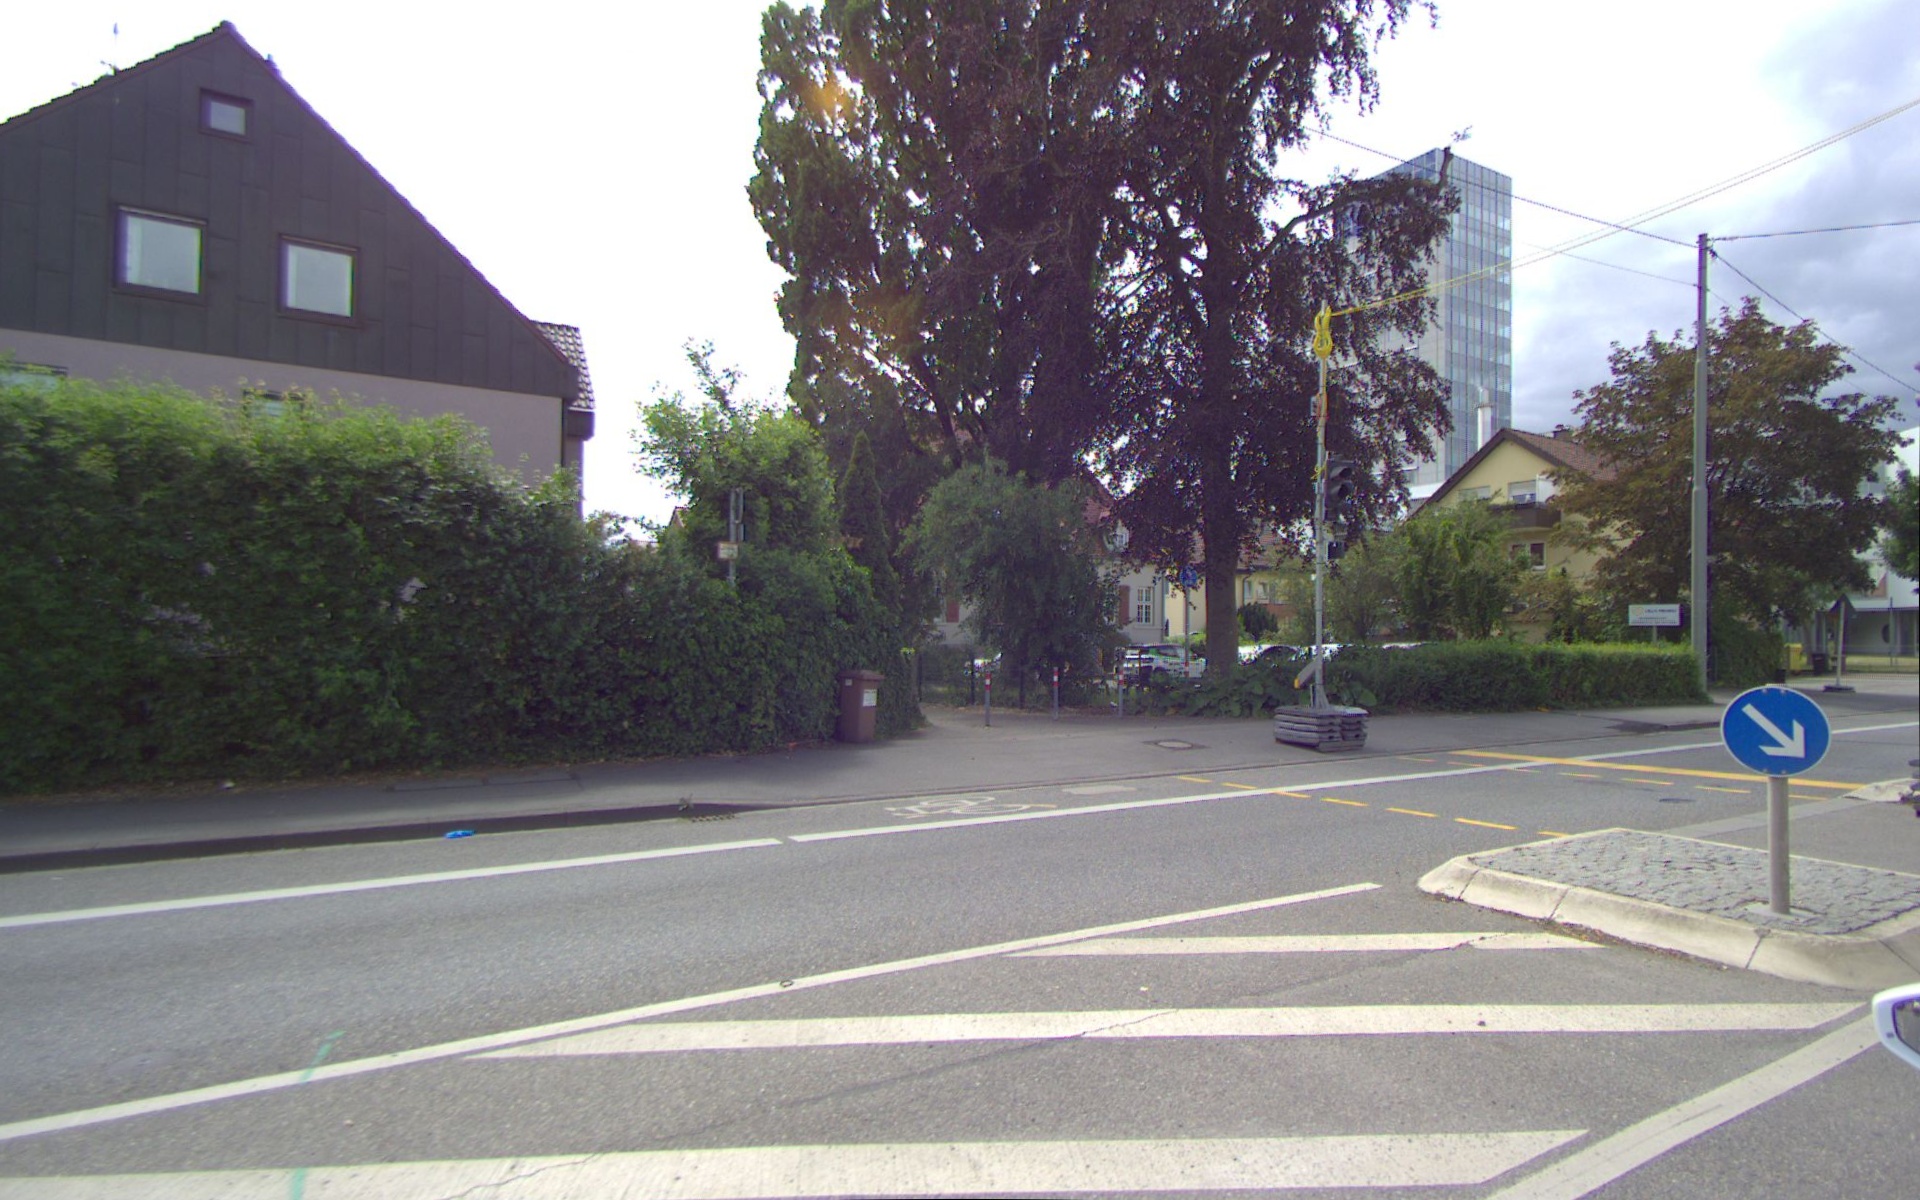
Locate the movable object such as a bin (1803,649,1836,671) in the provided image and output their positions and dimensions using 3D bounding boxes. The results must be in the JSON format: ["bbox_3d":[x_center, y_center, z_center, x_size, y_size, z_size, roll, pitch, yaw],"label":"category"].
[{"bbox_3d":[38.200,2.660,44.641,0.985,0.954,0.745,1,-3,-23],"label":"movable object such as a bin"}]

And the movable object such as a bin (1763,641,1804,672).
[{"bbox_3d":[37.632,2.574,45.912,1.389,1.347,1.417,-2,-3,39],"label":"movable object such as a bin"}]

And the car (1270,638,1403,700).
[{"bbox_3d":[10.125,1.802,26.970,3.398,1.535,1.652,1,-2,-32],"label":"car"}]

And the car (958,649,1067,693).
[{"bbox_3d":[2.015,2.675,38.380,3.828,1.572,1.856,1,-2,-30],"label":"car"}]

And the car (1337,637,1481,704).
[{"bbox_3d":[11.071,1.683,24.724,3.398,1.535,1.652,1,-2,-32],"label":"car"}]

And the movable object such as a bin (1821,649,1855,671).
[{"bbox_3d":[38.338,2.619,43.851,0.985,0.954,0.745,1,-3,-23],"label":"movable object such as a bin"}]

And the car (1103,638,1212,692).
[{"bbox_3d":[6.661,2.147,33.800,3.398,1.685,1.652,1,-2,-32],"label":"car"}]

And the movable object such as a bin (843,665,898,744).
[{"bbox_3d":[-1.152,1.342,13.005,0.545,0.965,0.540,0,-2,17],"label":"movable object such as a bin"}]
